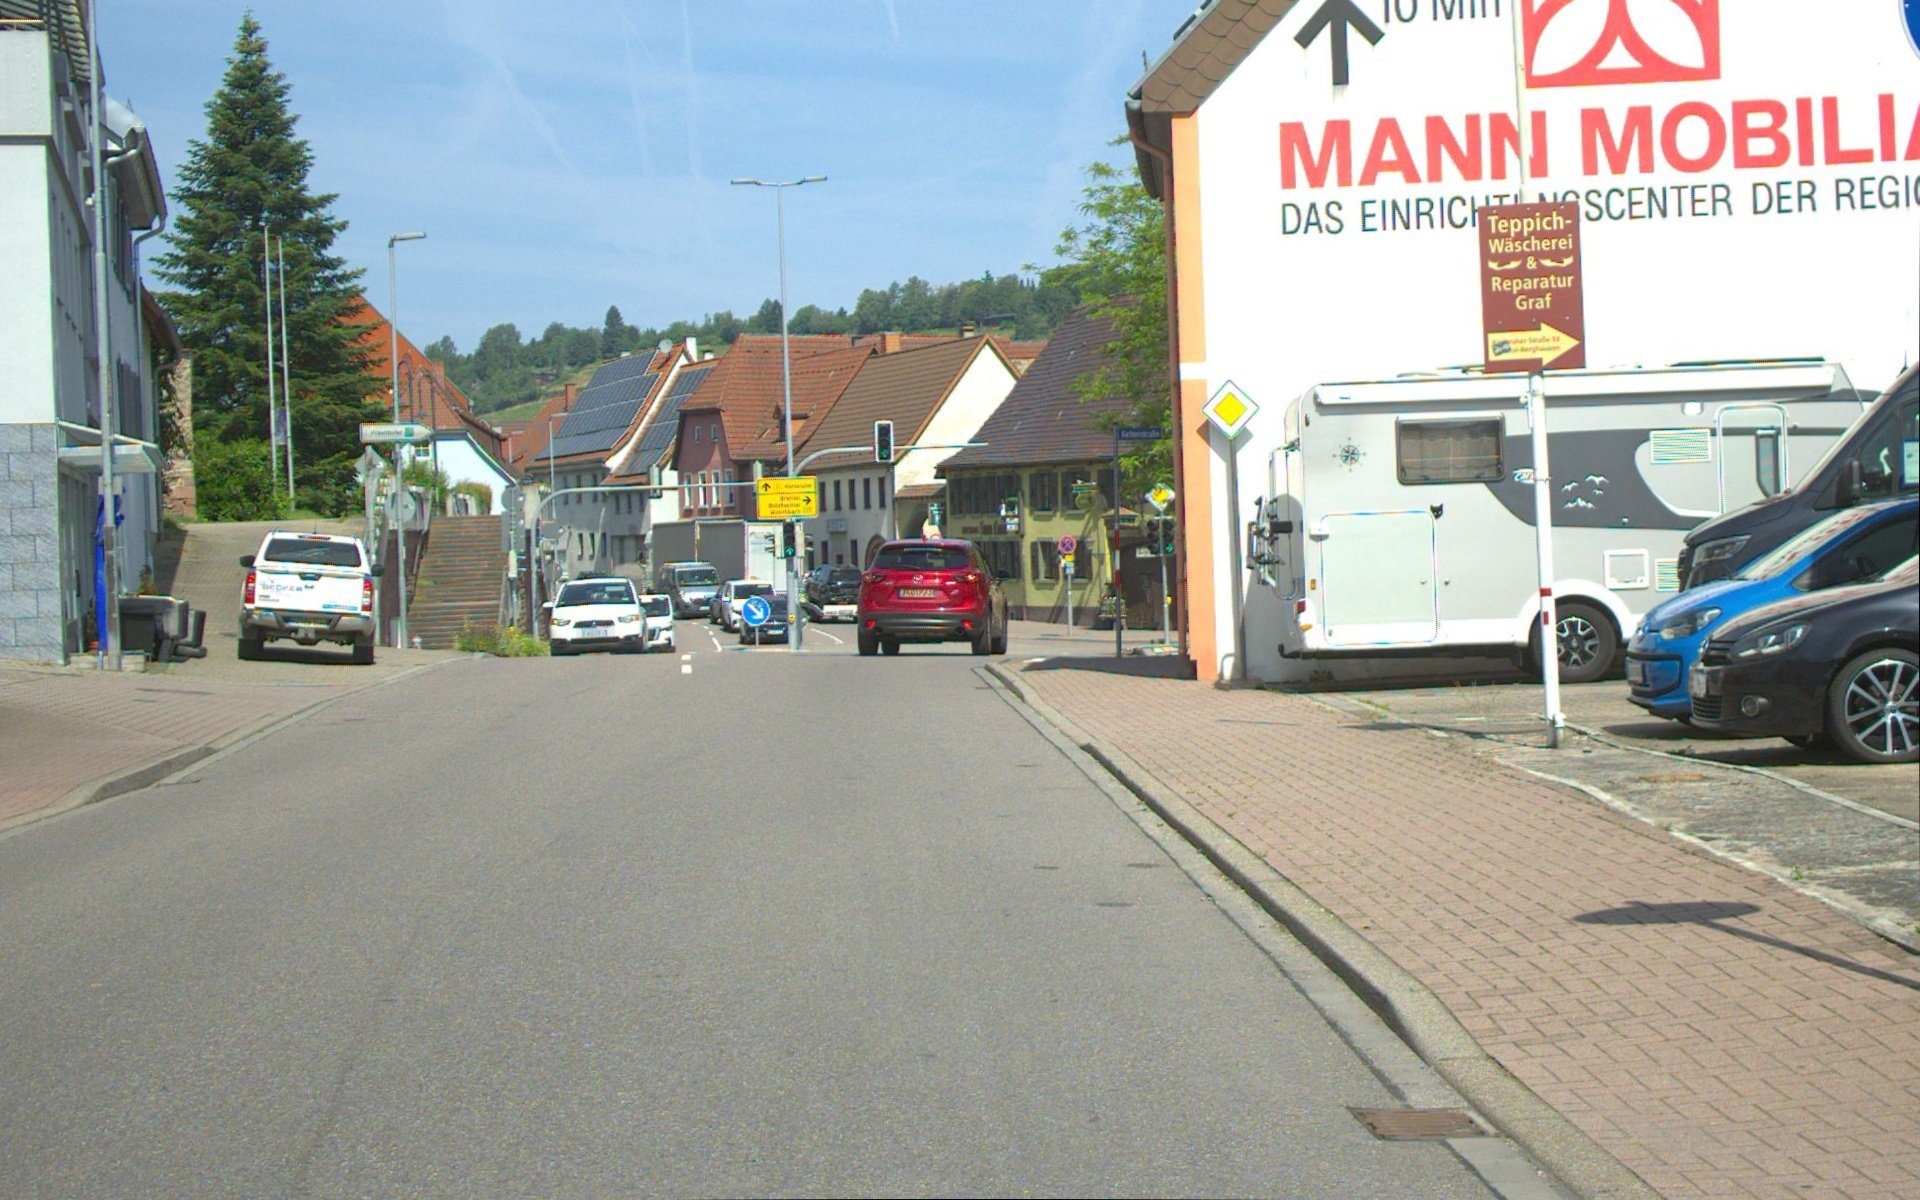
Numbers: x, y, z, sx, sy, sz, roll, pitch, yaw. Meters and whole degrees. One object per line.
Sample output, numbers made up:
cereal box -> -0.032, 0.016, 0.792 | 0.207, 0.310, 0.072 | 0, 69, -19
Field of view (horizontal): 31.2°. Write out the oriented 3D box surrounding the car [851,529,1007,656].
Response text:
car -> -0.399, -0.142, 48.971 | 1.805, 1.657, 3.812 | -2, 1, 5

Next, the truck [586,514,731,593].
truck -> -13.953, -2.096, 157.945 | 3.159, 3.448, 10.714 | 1, 0, -25

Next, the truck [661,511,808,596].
truck -> -9.850, -2.007, 148.866 | 3.222, 3.537, 9.232 | 1, 1, -25

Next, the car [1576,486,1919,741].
car -> 6.070, 0.032, 22.243 | 3.799, 1.523, 1.582 | -2, 1, -3

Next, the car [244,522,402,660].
car -> -8.970, -0.171, 48.751 | 1.804, 1.792, 5.287 | 2, 1, -7

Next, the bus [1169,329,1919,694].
bus -> 5.271, -0.776, 31.118 | 6.565, 2.895, 2.229 | -3, 0, 2

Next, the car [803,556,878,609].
car -> -4.696, -0.705, 134.821 | 1.846, 2.007, 4.001 | 1, 1, -19

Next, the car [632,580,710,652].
car -> -8.264, 0.432, 98.570 | 1.968, 1.926, 5.315 | -2, 1, -3

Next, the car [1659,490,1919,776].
car -> 6.113, 0.103, 18.962 | 4.160, 1.476, 1.727 | -2, 1, 2

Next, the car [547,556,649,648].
car -> -6.617, 0.013, 62.572 | 1.729, 1.537, 3.813 | -2, 1, -7

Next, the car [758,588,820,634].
car -> -5.707, 0.347, 115.089 | 1.820, 1.429, 4.249 | -1, 1, 0

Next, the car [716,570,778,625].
car -> -8.028, -0.122, 129.331 | 1.820, 1.899, 4.965 | -1, 2, -9

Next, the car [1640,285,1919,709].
car -> 8.176, -0.806, 25.073 | 5.965, 2.976, 2.315 | -1, 1, 20
